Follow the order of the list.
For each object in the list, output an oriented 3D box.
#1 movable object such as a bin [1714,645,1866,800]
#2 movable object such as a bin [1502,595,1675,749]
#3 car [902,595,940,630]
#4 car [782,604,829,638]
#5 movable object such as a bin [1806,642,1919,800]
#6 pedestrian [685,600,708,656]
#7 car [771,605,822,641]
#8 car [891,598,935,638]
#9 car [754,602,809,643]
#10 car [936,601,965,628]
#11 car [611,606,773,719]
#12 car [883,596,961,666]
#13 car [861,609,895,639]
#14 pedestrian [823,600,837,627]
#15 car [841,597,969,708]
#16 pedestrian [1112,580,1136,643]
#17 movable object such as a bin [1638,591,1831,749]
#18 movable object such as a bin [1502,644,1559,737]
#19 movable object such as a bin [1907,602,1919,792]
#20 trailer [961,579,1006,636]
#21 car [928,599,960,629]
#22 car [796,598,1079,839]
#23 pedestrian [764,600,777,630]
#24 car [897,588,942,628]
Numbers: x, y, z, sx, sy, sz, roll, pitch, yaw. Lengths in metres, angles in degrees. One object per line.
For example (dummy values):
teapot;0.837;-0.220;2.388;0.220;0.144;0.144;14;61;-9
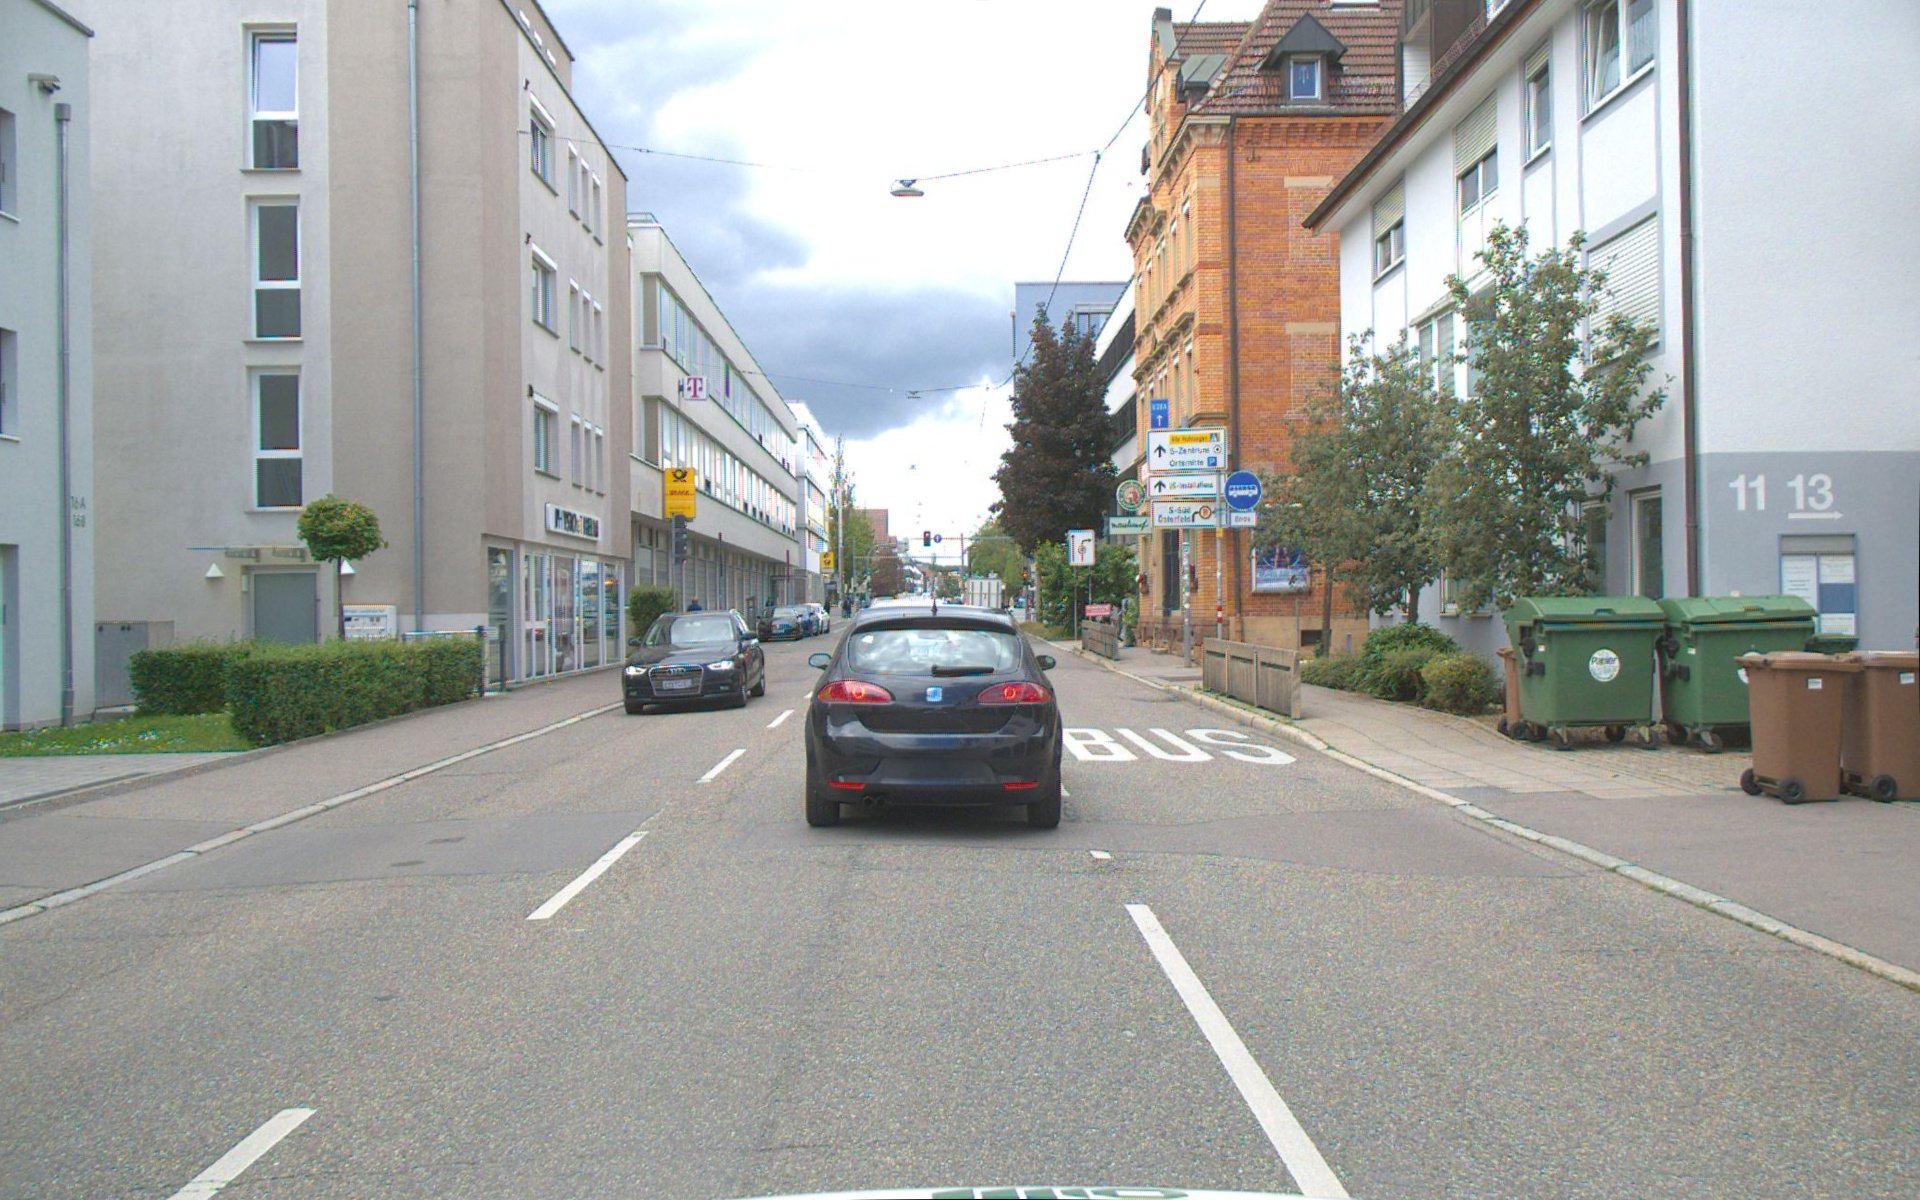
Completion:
movable object such as a bin;6.207;0.898;12.410;0.669;1.086;0.972;-1;0;3
movable object such as a bin;6.175;0.687;16.333;1.241;1.442;1.162;-1;0;-1
car;-1.885;0.581;78.881;1.767;1.629;3.736;0;0;-2
car;-7.440;1.010;80.109;1.953;1.543;4.173;-1;0;-2
movable object such as a bin;6.922;0.884;12.396;0.683;1.098;0.972;-1;0;3
pedestrian;-8.553;0.907;53.719;0.630;1.800;0.809;-1;0;-3
car;-7.328;1.014;74.406;1.953;1.543;4.173;-1;0;-2
car;-1.933;0.724;68.351;1.767;1.629;3.736;0;0;-2
car;-7.383;0.908;68.571;1.874;1.543;4.173;-2;0;-2
car;-0.606;0.913;105.415;1.767;1.629;3.736;0;0;-2
car;-4.049;0.904;25.649;1.841;1.476;4.213;-3;0;-1
car;-0.917;0.707;39.644;1.767;1.580;3.736;-1;0;-2
car;-5.144;1.482;103.844;1.953;1.769;4.552;-2;0;-2
pedestrian;-9.266;0.927;117.887;0.899;1.901;0.783;-1;0;-2
car;-0.814;0.735;25.040;1.767;1.519;3.736;-1;0;-2
pedestrian;5.380;0.380;54.288;0.679;2.049;0.676;-1;0;-2
movable object such as a bin;7.505;0.654;16.110;1.241;1.460;1.307;-1;0;-1
movable object such as a bin;5.907;0.931;17.140;0.421;0.937;0.465;-1;0;-1
movable object such as a bin;7.855;0.732;12.064;1.184;1.442;1.260;-1;0;3
trailer;1.107;0.340;80.424;1.953;2.653;5.347;-1;0;-2
car;-0.923;0.776;92.828;1.767;1.629;3.736;0;0;-2
car;-0.167;0.730;12.137;1.730;1.458;3.827;-1;0;-1
pedestrian;-10.815;0.858;94.299;0.642;1.651;0.681;-1;0;0
car;-1.662;0.311;68.042;1.767;1.580;3.736;-1;0;-2
